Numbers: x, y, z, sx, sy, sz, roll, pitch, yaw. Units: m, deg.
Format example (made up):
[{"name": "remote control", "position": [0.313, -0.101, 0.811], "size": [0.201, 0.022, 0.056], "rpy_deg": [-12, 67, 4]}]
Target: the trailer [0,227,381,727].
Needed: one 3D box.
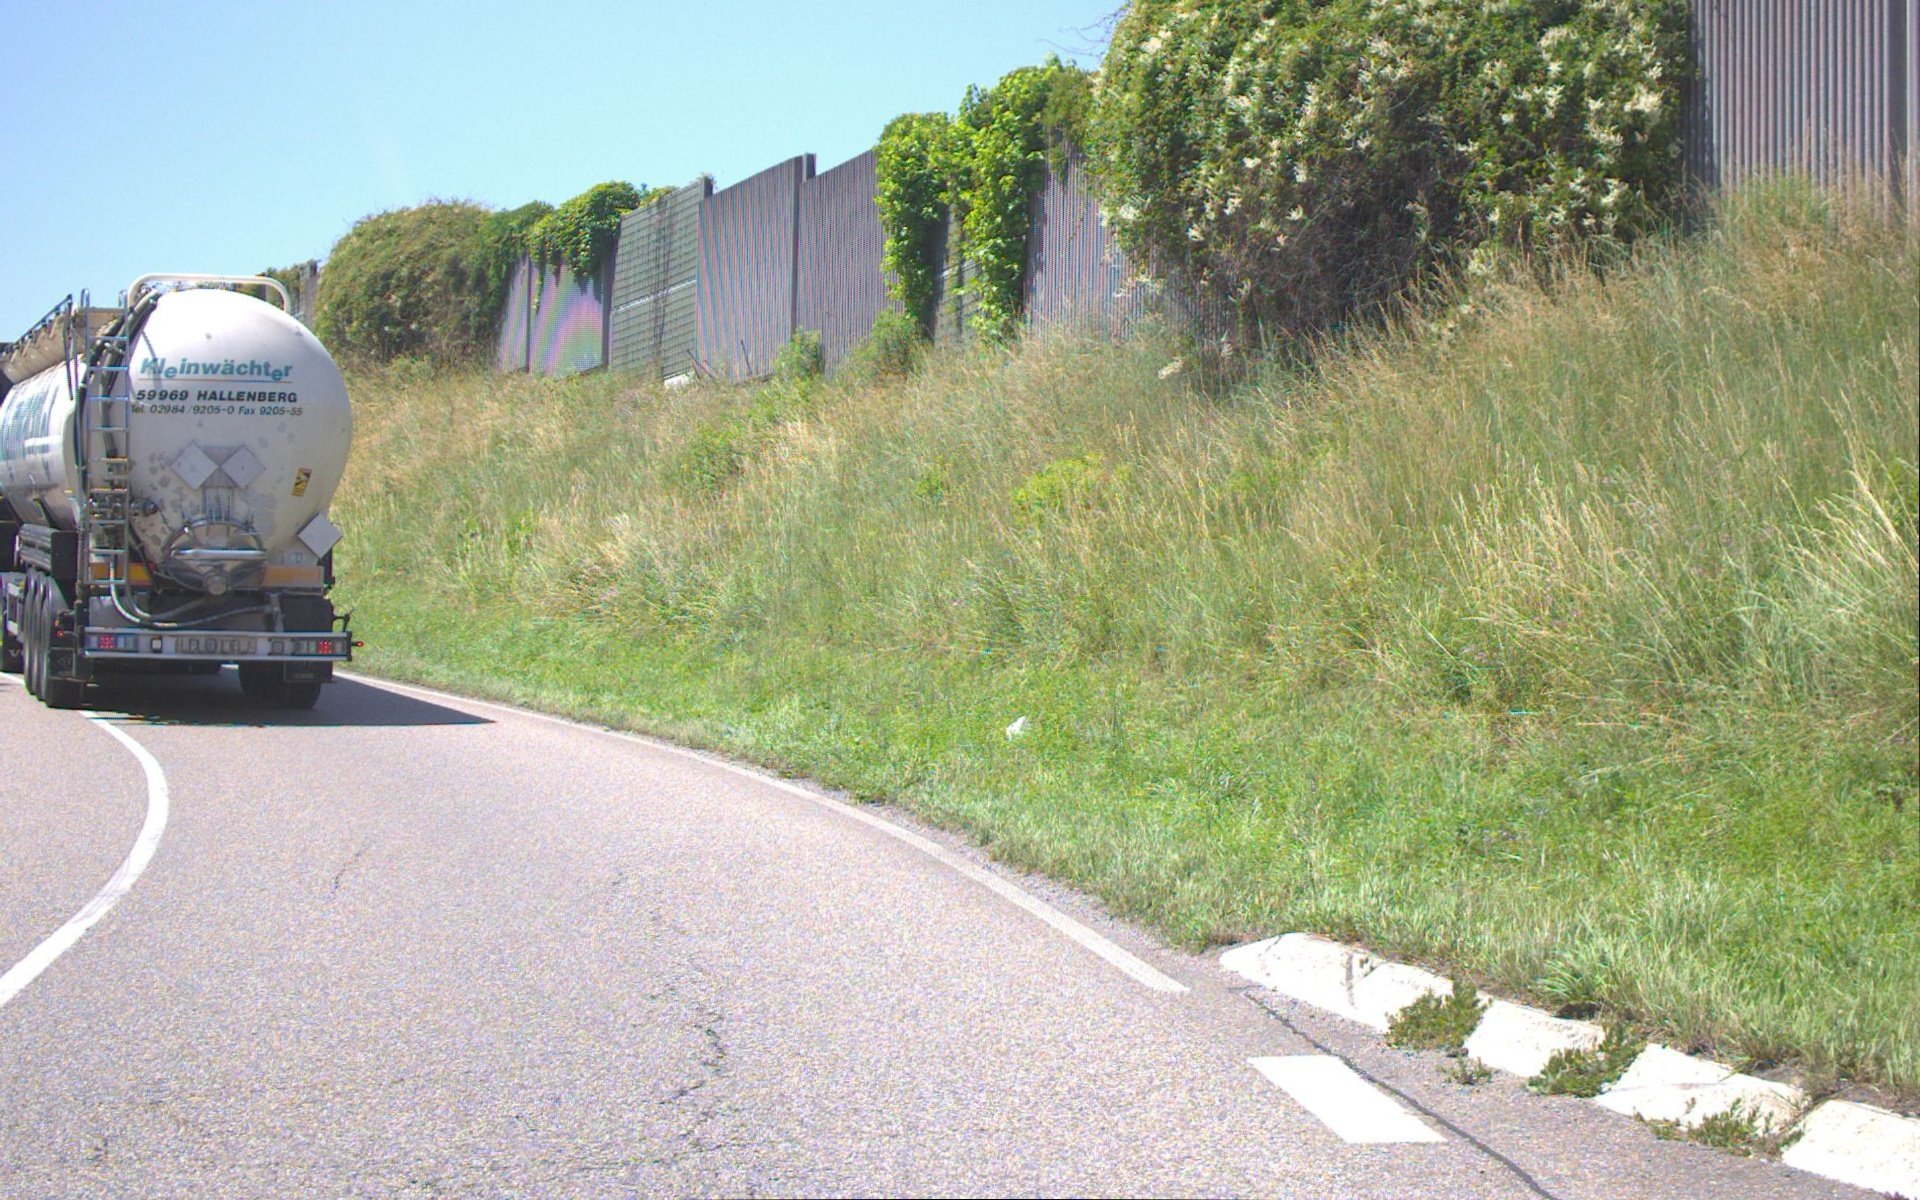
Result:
[{"name": "trailer", "position": [-8.319, -1.126, 35.110], "size": [2.660, 4.174, 11.908], "rpy_deg": [2, 0, -19]}]

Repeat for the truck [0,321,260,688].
[{"name": "truck", "position": [-10.319, -1.089, 40.740], "size": [2.726, 3.916, 7.265], "rpy_deg": [1, 1, -21]}]
